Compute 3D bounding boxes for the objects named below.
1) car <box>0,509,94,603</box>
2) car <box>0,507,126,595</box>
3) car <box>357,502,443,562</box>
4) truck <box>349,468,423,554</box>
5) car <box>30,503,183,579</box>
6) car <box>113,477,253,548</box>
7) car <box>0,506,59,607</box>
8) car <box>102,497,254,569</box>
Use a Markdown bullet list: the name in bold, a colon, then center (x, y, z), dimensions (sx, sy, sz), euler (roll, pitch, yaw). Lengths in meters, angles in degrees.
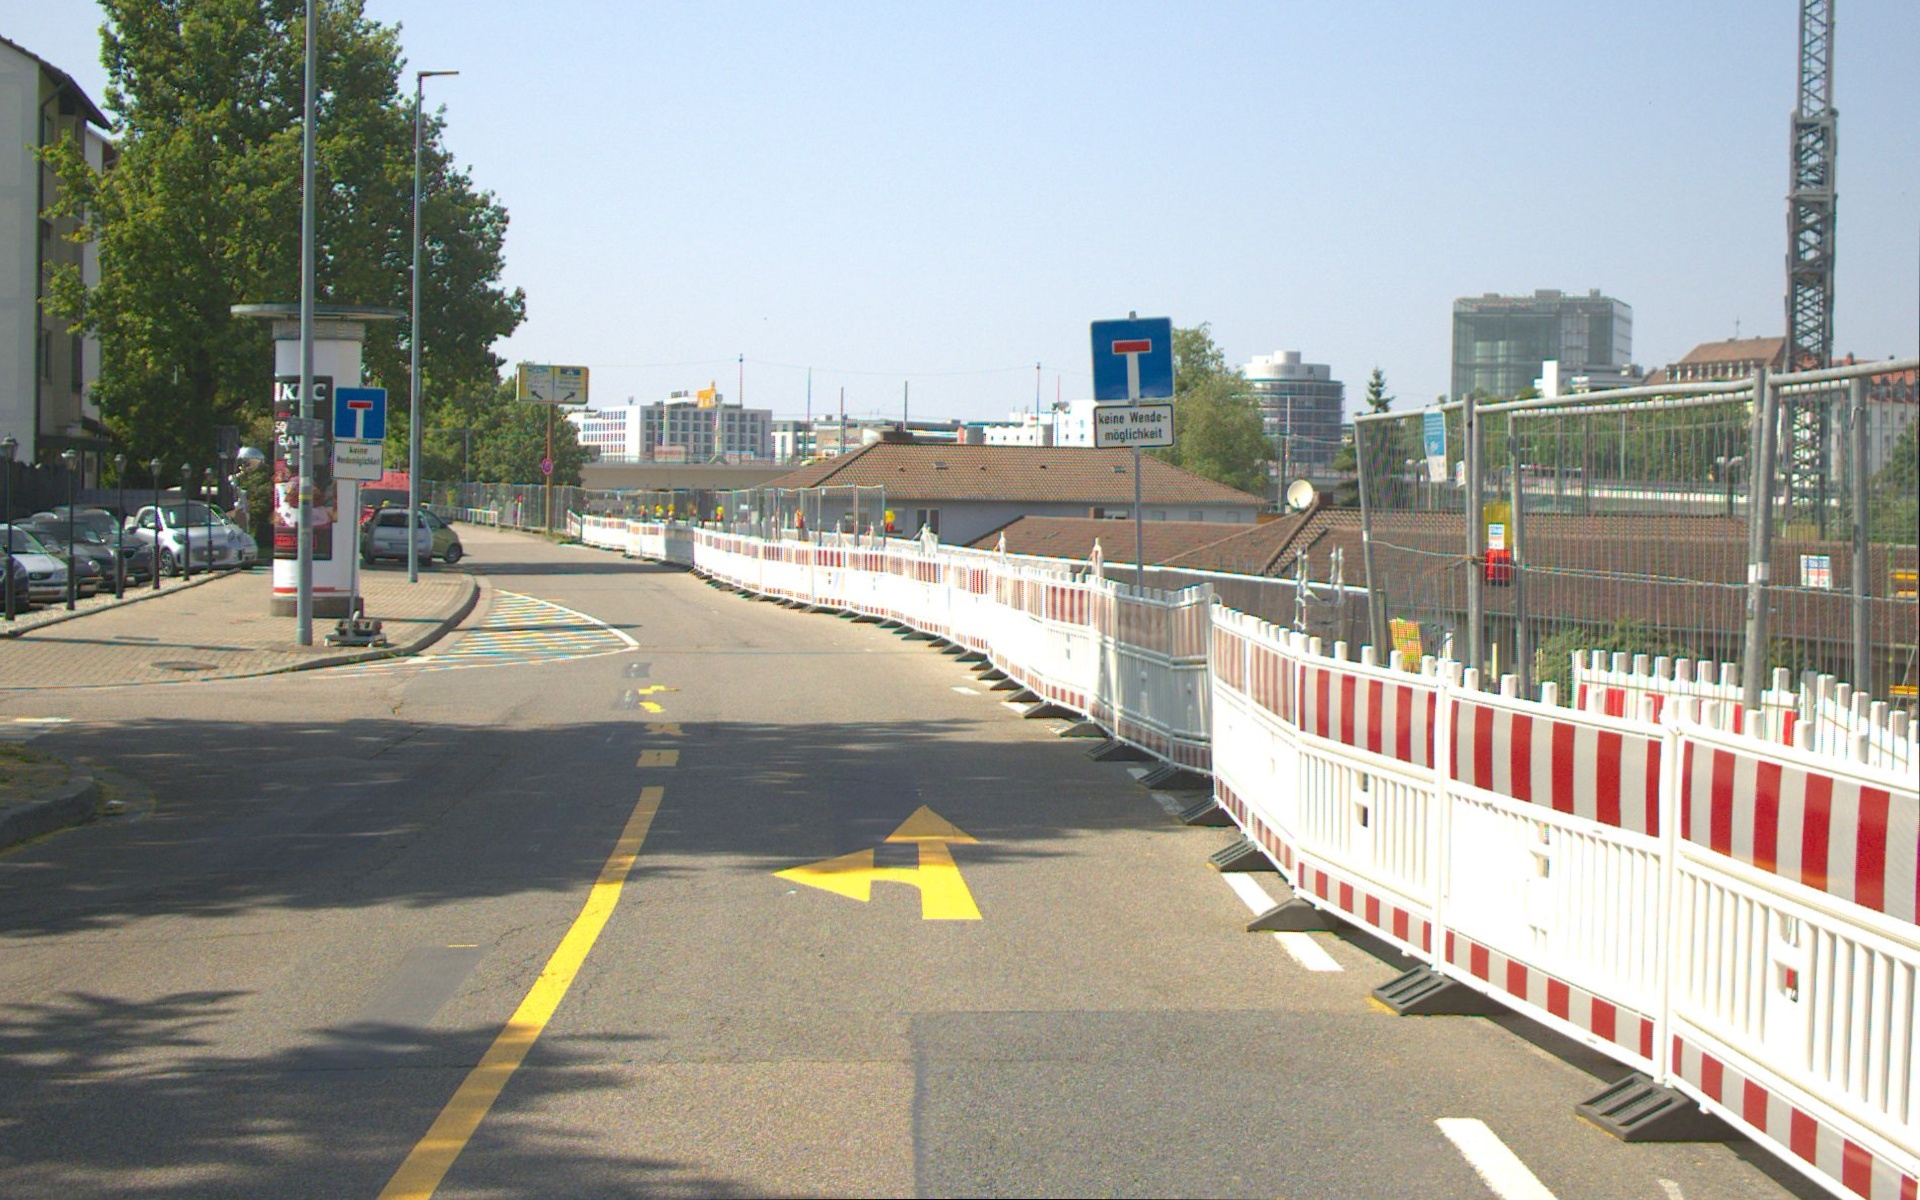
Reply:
- **car**: center (-16.091, -0.744, 57.705), dimensions (1.780, 1.468, 4.000), euler (-3, 2, -33)
- **car**: center (-16.622, -0.884, 61.729), dimensions (1.667, 1.468, 3.999), euler (-3, 3, -38)
- **car**: center (-14.685, -1.803, 90.331), dimensions (1.869, 1.493, 4.032), euler (0, 3, -4)
- **truck**: center (-18.251, -2.809, 109.463), dimensions (2.237, 2.639, 5.683), euler (0, 1, -9)
- **car**: center (-17.624, -1.218, 70.887), dimensions (1.667, 1.468, 3.999), euler (-3, 3, -35)
- **car**: center (-22.948, -2.575, 101.464), dimensions (3.921, 1.952, 1.760), euler (2, 1, -15)
- **car**: center (-15.228, -0.658, 52.394), dimensions (1.836, 1.468, 4.000), euler (-3, 3, -30)
- **car**: center (-16.994, -1.454, 74.588), dimensions (1.776, 1.468, 3.999), euler (-3, 3, -35)
